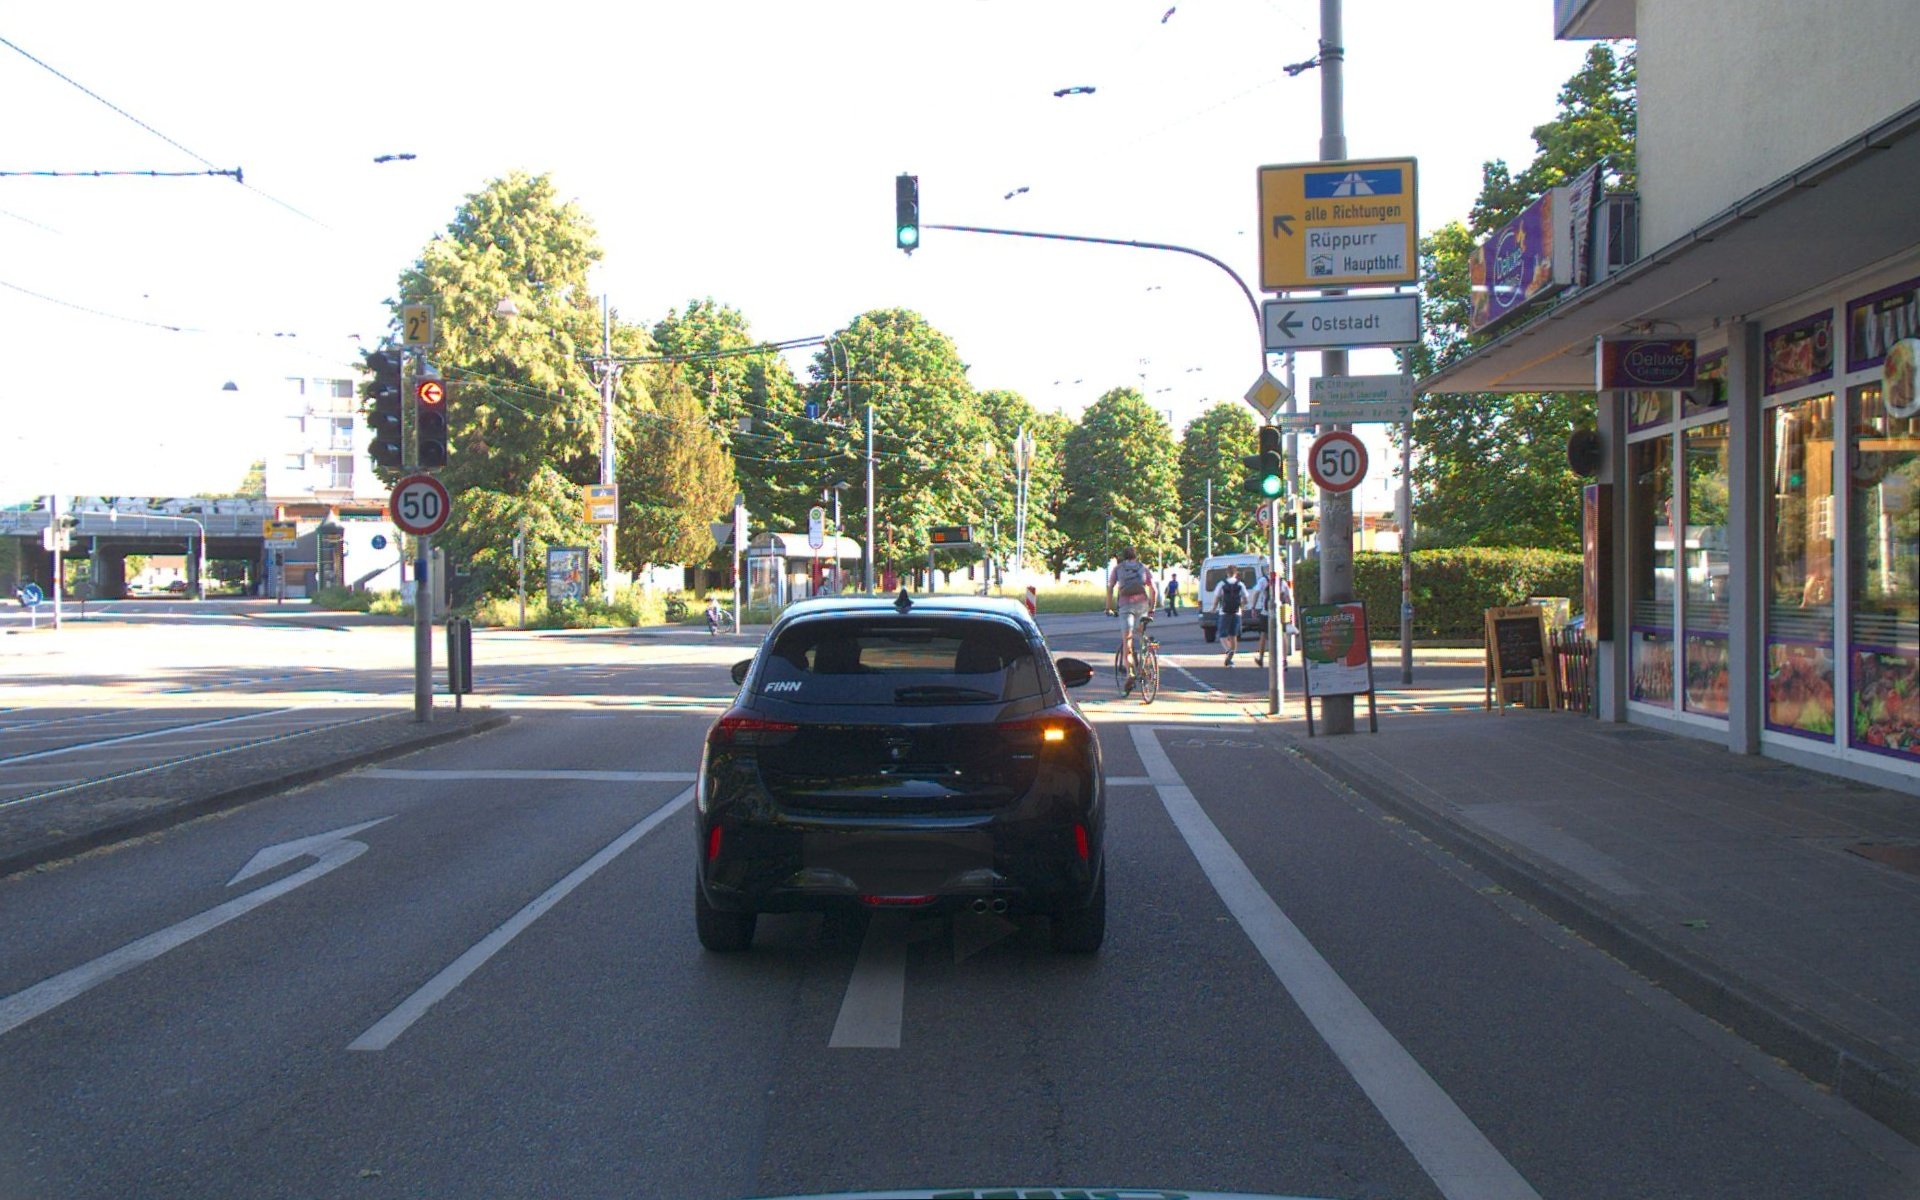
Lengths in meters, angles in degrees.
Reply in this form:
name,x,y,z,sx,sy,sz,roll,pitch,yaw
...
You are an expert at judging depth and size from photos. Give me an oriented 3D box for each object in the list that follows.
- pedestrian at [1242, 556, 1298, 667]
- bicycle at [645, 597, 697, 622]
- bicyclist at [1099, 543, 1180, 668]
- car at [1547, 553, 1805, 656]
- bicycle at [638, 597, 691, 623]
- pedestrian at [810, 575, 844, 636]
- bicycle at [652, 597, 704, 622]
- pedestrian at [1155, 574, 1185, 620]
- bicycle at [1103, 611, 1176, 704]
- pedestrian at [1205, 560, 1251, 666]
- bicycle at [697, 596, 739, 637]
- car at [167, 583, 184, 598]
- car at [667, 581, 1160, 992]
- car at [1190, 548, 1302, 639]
name,x,y,z,sx,sy,sz,roll,pitch,yaw
pedestrian,5.340,0.197,28.474,0.691,1.878,0.697,0,0,39
bicycle,-11.009,0.374,62.955,1.837,0.922,0.660,0,0,6
bicyclist,2.268,0.057,21.058,0.823,1.536,1.368,0,0,-3
car,13.364,0.123,31.095,4.087,1.846,1.807,-1,-2,7
bicycle,-11.082,0.372,61.969,1.837,0.922,0.660,0,0,6
pedestrian,-3.761,0.152,46.765,0.692,1.722,0.719,-1,0,-33
bicycle,-10.881,0.367,63.829,1.837,0.922,0.660,0,0,6
pedestrian,8.527,-0.122,67.036,0.939,1.824,0.995,0,0,25
bicycle,2.273,0.706,21.145,0.654,1.078,2.081,0,1,-1
pedestrian,4.684,0.219,28.973,0.684,1.823,0.617,0,0,-2
bicycle,-6.548,0.443,44.860,0.808,1.078,1.883,0,1,1
car,-109.701,-1.343,231.272,1.970,2.049,3.964,1,0,-27
car,-0.153,0.650,7.929,1.763,1.466,3.940,0,1,0
car,7.767,-0.166,44.569,2.047,2.317,4.305,1,0,23
